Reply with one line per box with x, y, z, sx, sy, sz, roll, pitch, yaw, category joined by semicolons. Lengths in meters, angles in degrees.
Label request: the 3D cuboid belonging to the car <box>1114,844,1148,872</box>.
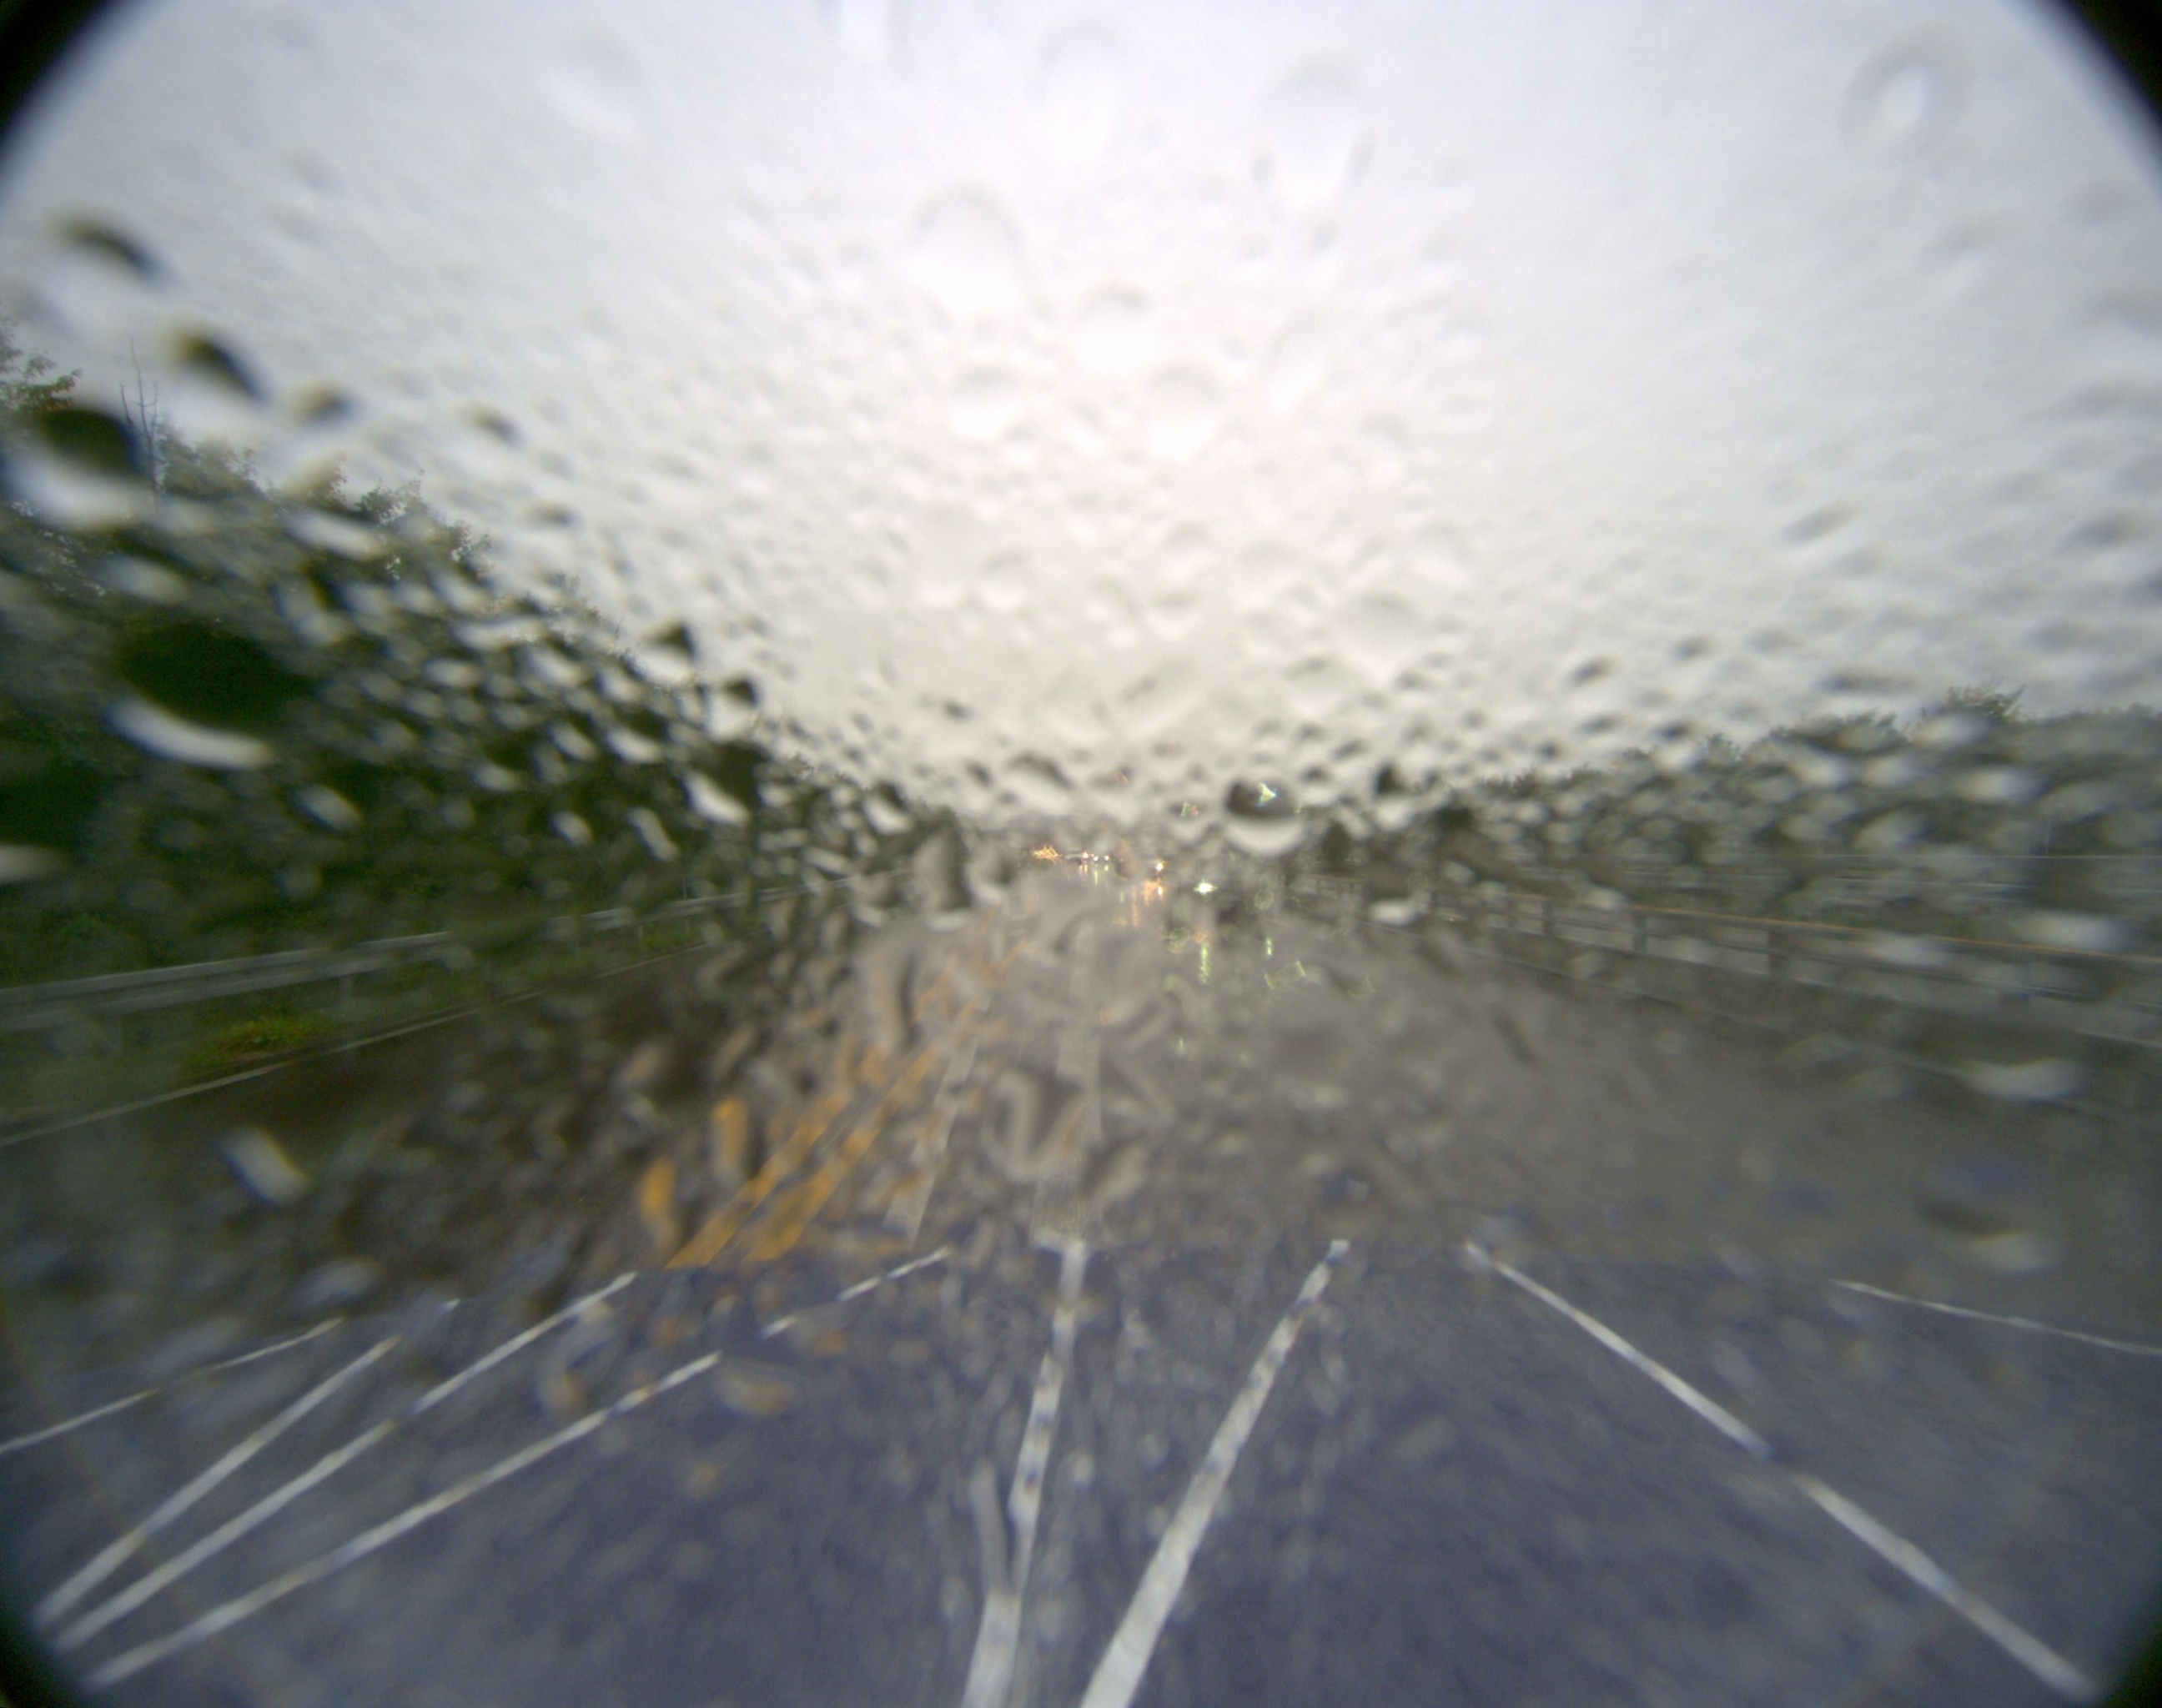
3.854;0.247;59.259;2.211;2.002;5.563;-2;1;0;car

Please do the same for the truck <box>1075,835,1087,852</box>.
-0.014;-3.234;235.590;3.283;4.809;15.981;-2;1;-1;truck

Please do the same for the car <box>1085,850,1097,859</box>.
1.735;0.063;130.593;1.845;1.586;3.999;-2;1;-1;car

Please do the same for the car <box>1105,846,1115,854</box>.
6.279;-0.901;164.435;1.956;1.707;5.102;-2;1;-1;car

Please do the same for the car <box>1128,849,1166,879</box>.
3.728;0.591;43.836;1.978;1.586;4.310;-1;-1;3;car

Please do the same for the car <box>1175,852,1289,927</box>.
3.525;0.759;18.643;1.998;1.489;4.631;-2;1;2;car

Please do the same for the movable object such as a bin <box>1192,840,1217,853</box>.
23.657;-1.469;145.890;3.448;2.281;5.097;-2;1;-7;movable object such as a bin

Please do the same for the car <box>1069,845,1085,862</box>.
-0.512;-0.063;96.739;1.881;2.002;3.999;-2;1;-1;car

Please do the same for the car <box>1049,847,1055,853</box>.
-8.306;-1.212;217.670;1.752;1.579;3.999;-2;1;-1;car

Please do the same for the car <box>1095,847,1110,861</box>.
2.822;-0.077;99.273;1.695;1.740;3.999;-2;1;-1;car

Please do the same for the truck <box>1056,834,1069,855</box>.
-3.692;-1.935;153.302;2.484;4.061;8.702;-2;1;-1;truck

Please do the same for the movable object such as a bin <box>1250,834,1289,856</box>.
25.813;-1.254;104.538;3.774;2.782;6.329;-2;1;0;movable object such as a bin
